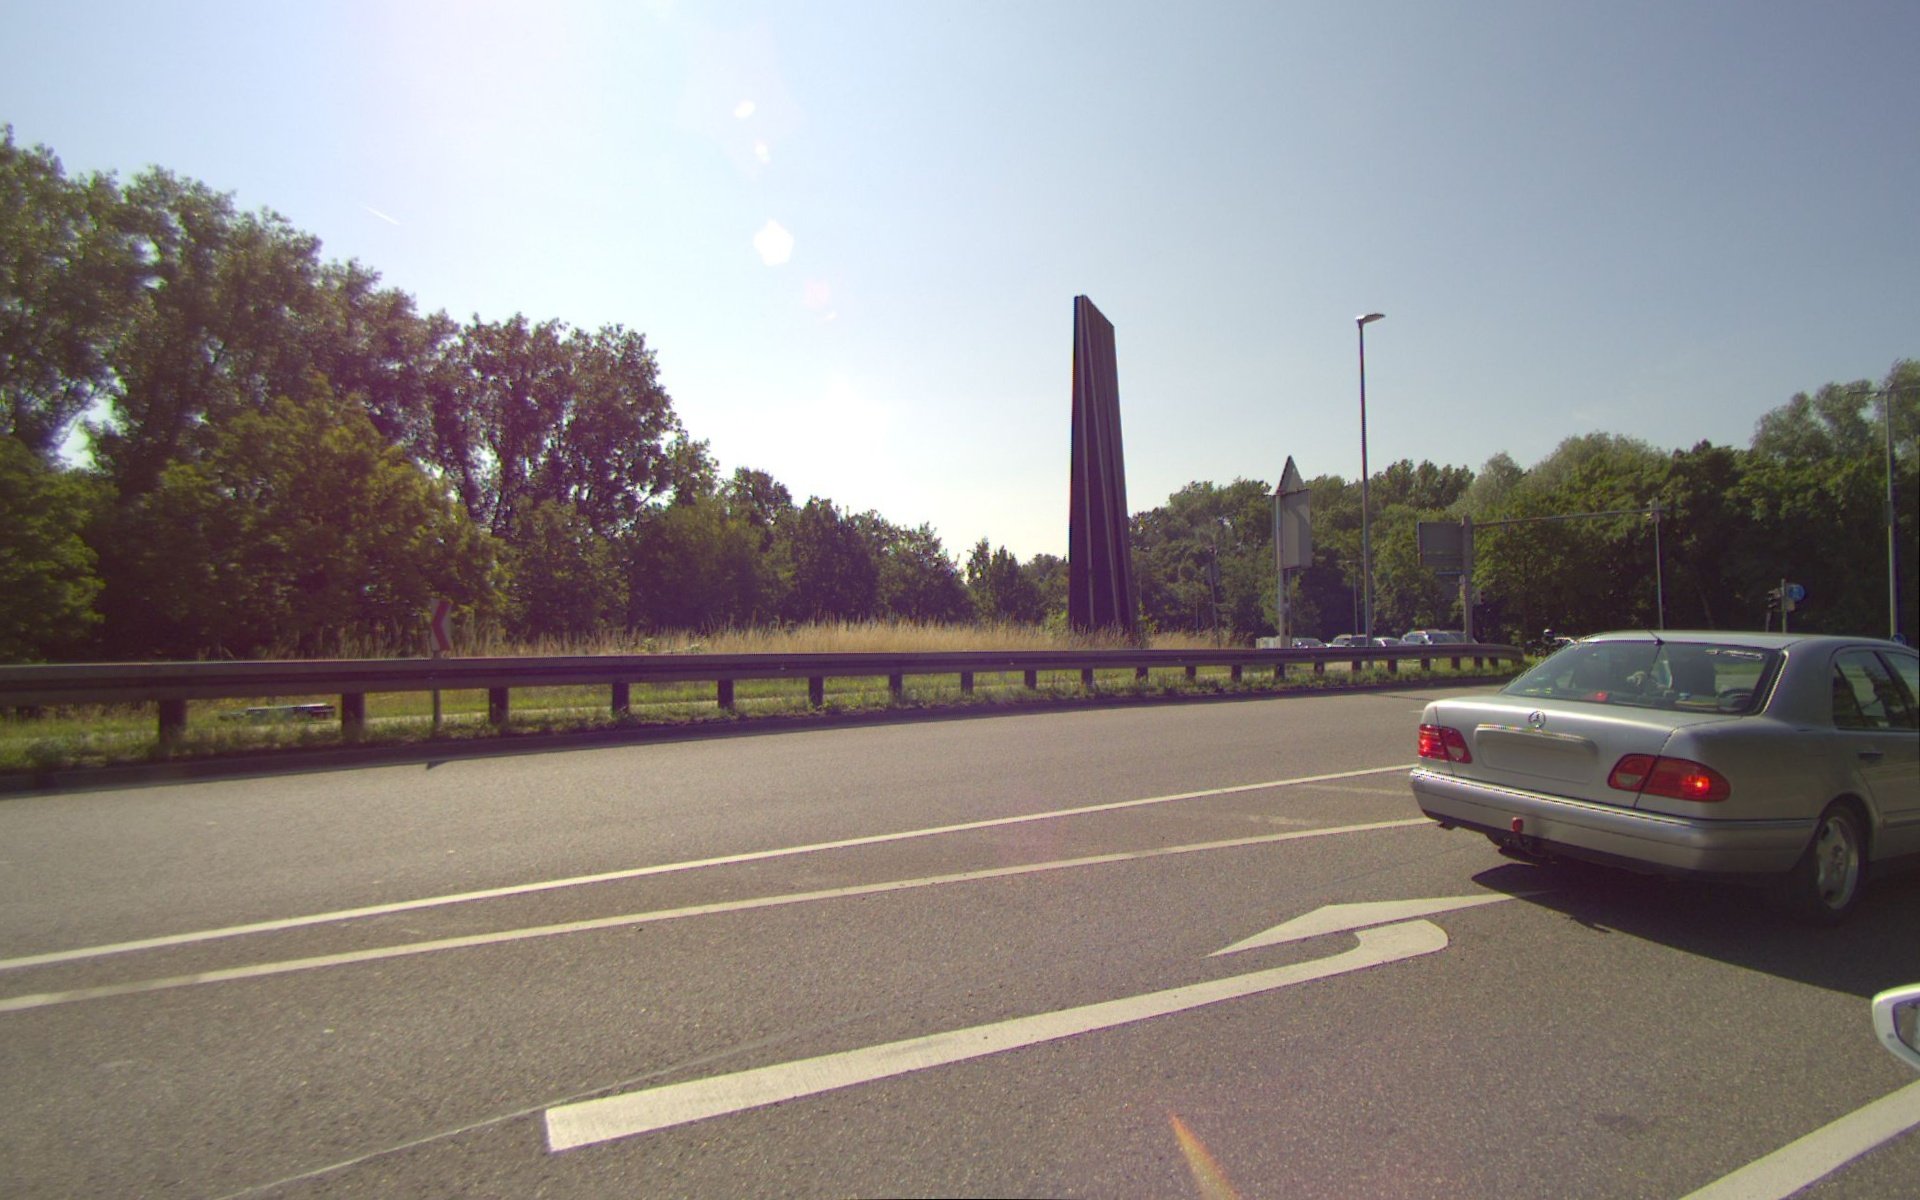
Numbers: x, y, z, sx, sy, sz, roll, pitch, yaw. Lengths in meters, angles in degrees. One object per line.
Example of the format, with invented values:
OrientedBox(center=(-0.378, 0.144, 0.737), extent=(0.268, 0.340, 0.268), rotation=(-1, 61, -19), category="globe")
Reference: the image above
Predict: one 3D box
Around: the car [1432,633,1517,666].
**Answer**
OrientedBox(center=(24.437, 2.384, 47.861), extent=(1.734, 1.406, 3.999), rotation=(2, -5, -5), category="car")

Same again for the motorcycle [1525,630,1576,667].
OrientedBox(center=(25.731, 2.126, 43.791), extent=(0.882, 1.548, 1.982), rotation=(1, -4, -7), category="motorcycle")

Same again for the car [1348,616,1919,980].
OrientedBox(center=(4.877, 0.877, 6.205), extent=(4.837, 1.506, 1.932), rotation=(1, 0, -28), category="car")

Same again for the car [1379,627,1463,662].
OrientedBox(center=(20.684, 2.042, 45.231), extent=(1.670, 1.406, 3.999), rotation=(2, -5, -5), category="car")

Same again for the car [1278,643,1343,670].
OrientedBox(center=(20.054, 3.259, 57.628), extent=(1.884, 1.406, 4.397), rotation=(2, -5, -5), category="car")

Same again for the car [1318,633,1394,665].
OrientedBox(center=(20.378, 2.550, 51.905), extent=(1.884, 1.406, 4.397), rotation=(2, -5, -5), category="car")

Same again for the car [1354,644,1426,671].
OrientedBox(center=(24.094, 3.270, 56.479), extent=(2.083, 1.406, 3.999), rotation=(2, -5, -5), category="car")

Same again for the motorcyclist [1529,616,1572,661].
OrientedBox(center=(25.749, 1.709, 43.796), extent=(0.876, 1.894, 1.463), rotation=(1, -4, -7), category="motorcyclist")
